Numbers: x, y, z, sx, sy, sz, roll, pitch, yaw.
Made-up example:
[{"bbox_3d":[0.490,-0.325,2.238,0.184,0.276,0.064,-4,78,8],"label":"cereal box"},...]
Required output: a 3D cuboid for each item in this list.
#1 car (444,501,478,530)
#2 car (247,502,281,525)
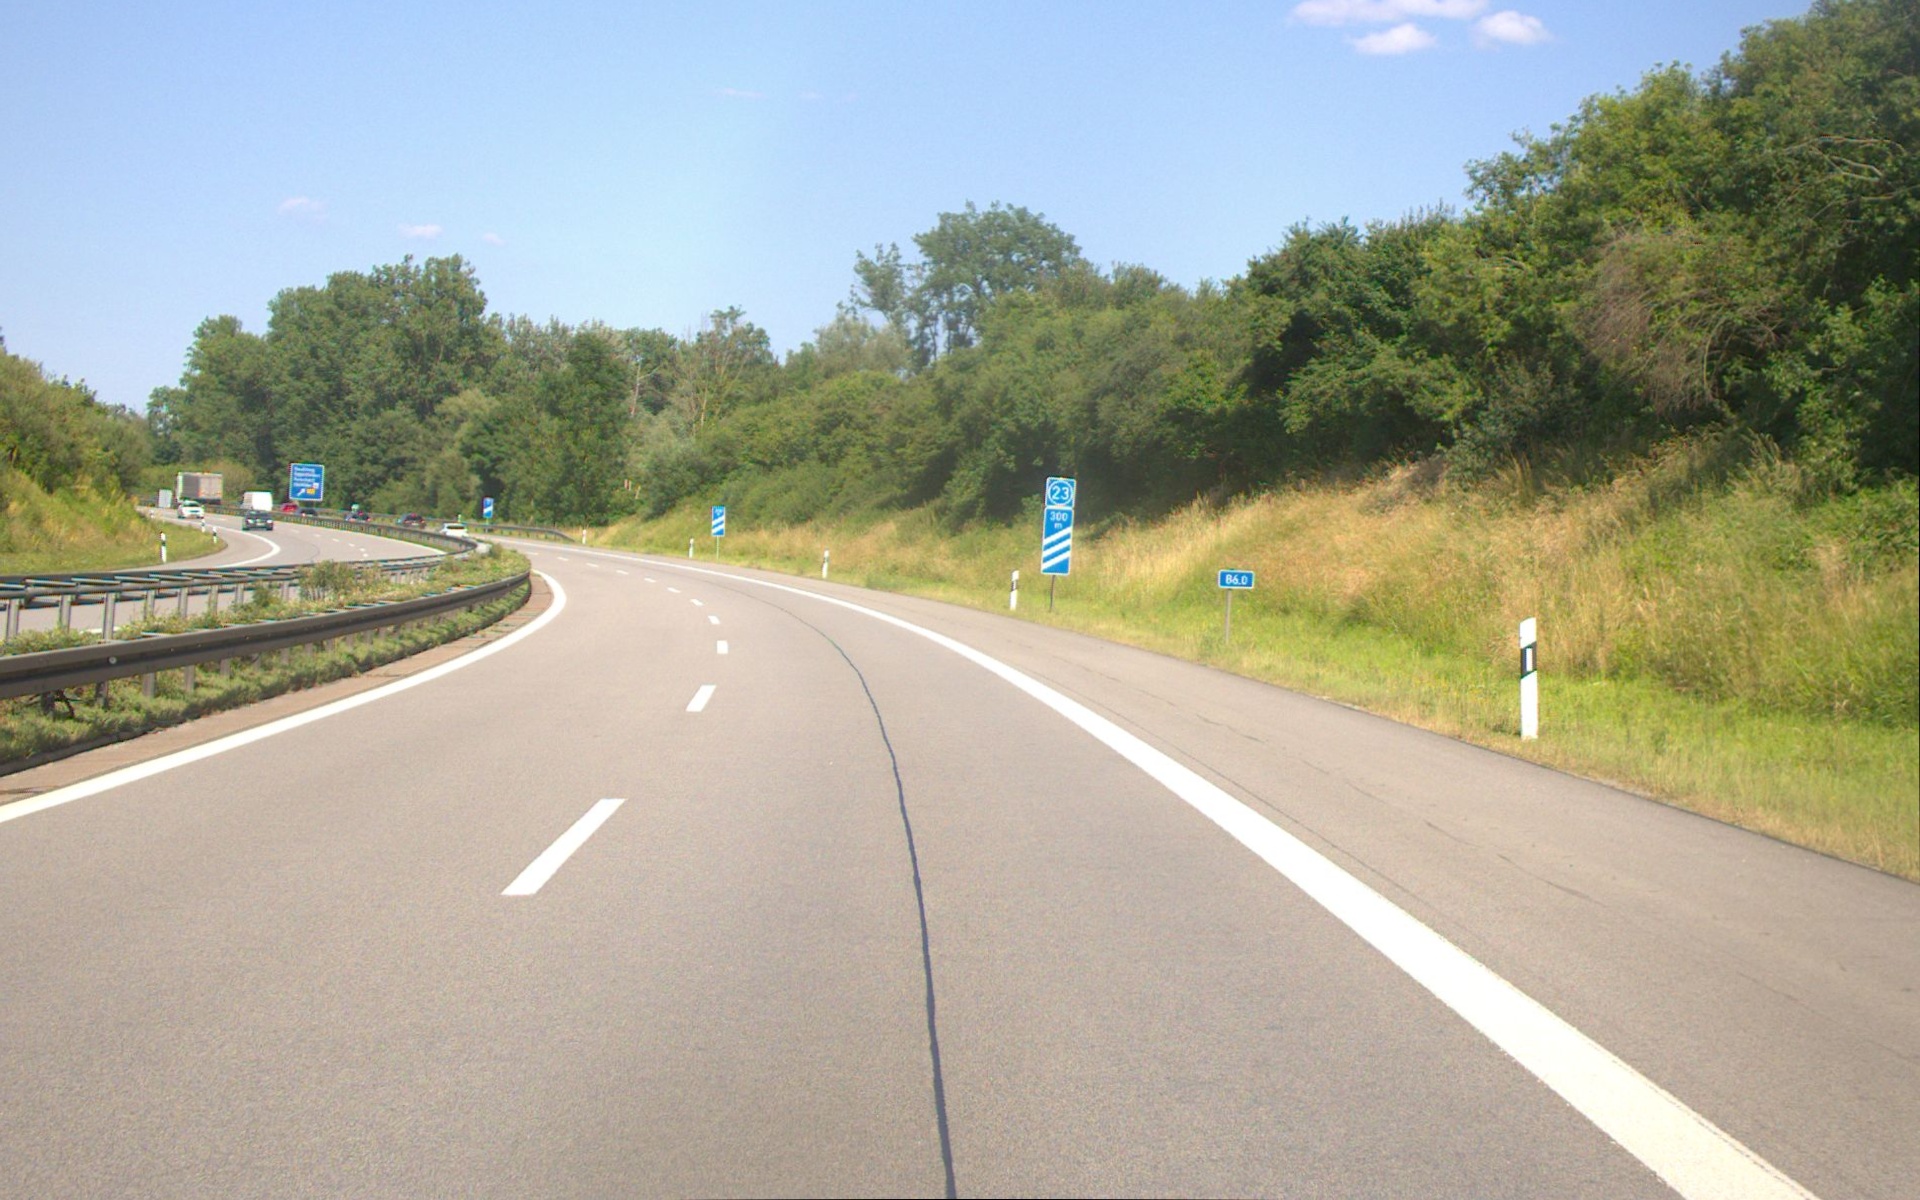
[{"bbox_3d":[-31.695,-5.361,218.356,2.061,1.619,4.001,1,0,-9],"label":"car"},{"bbox_3d":[-48.056,-5.981,237.528,1.966,1.559,5.175,0,1,-7],"label":"car"}]
